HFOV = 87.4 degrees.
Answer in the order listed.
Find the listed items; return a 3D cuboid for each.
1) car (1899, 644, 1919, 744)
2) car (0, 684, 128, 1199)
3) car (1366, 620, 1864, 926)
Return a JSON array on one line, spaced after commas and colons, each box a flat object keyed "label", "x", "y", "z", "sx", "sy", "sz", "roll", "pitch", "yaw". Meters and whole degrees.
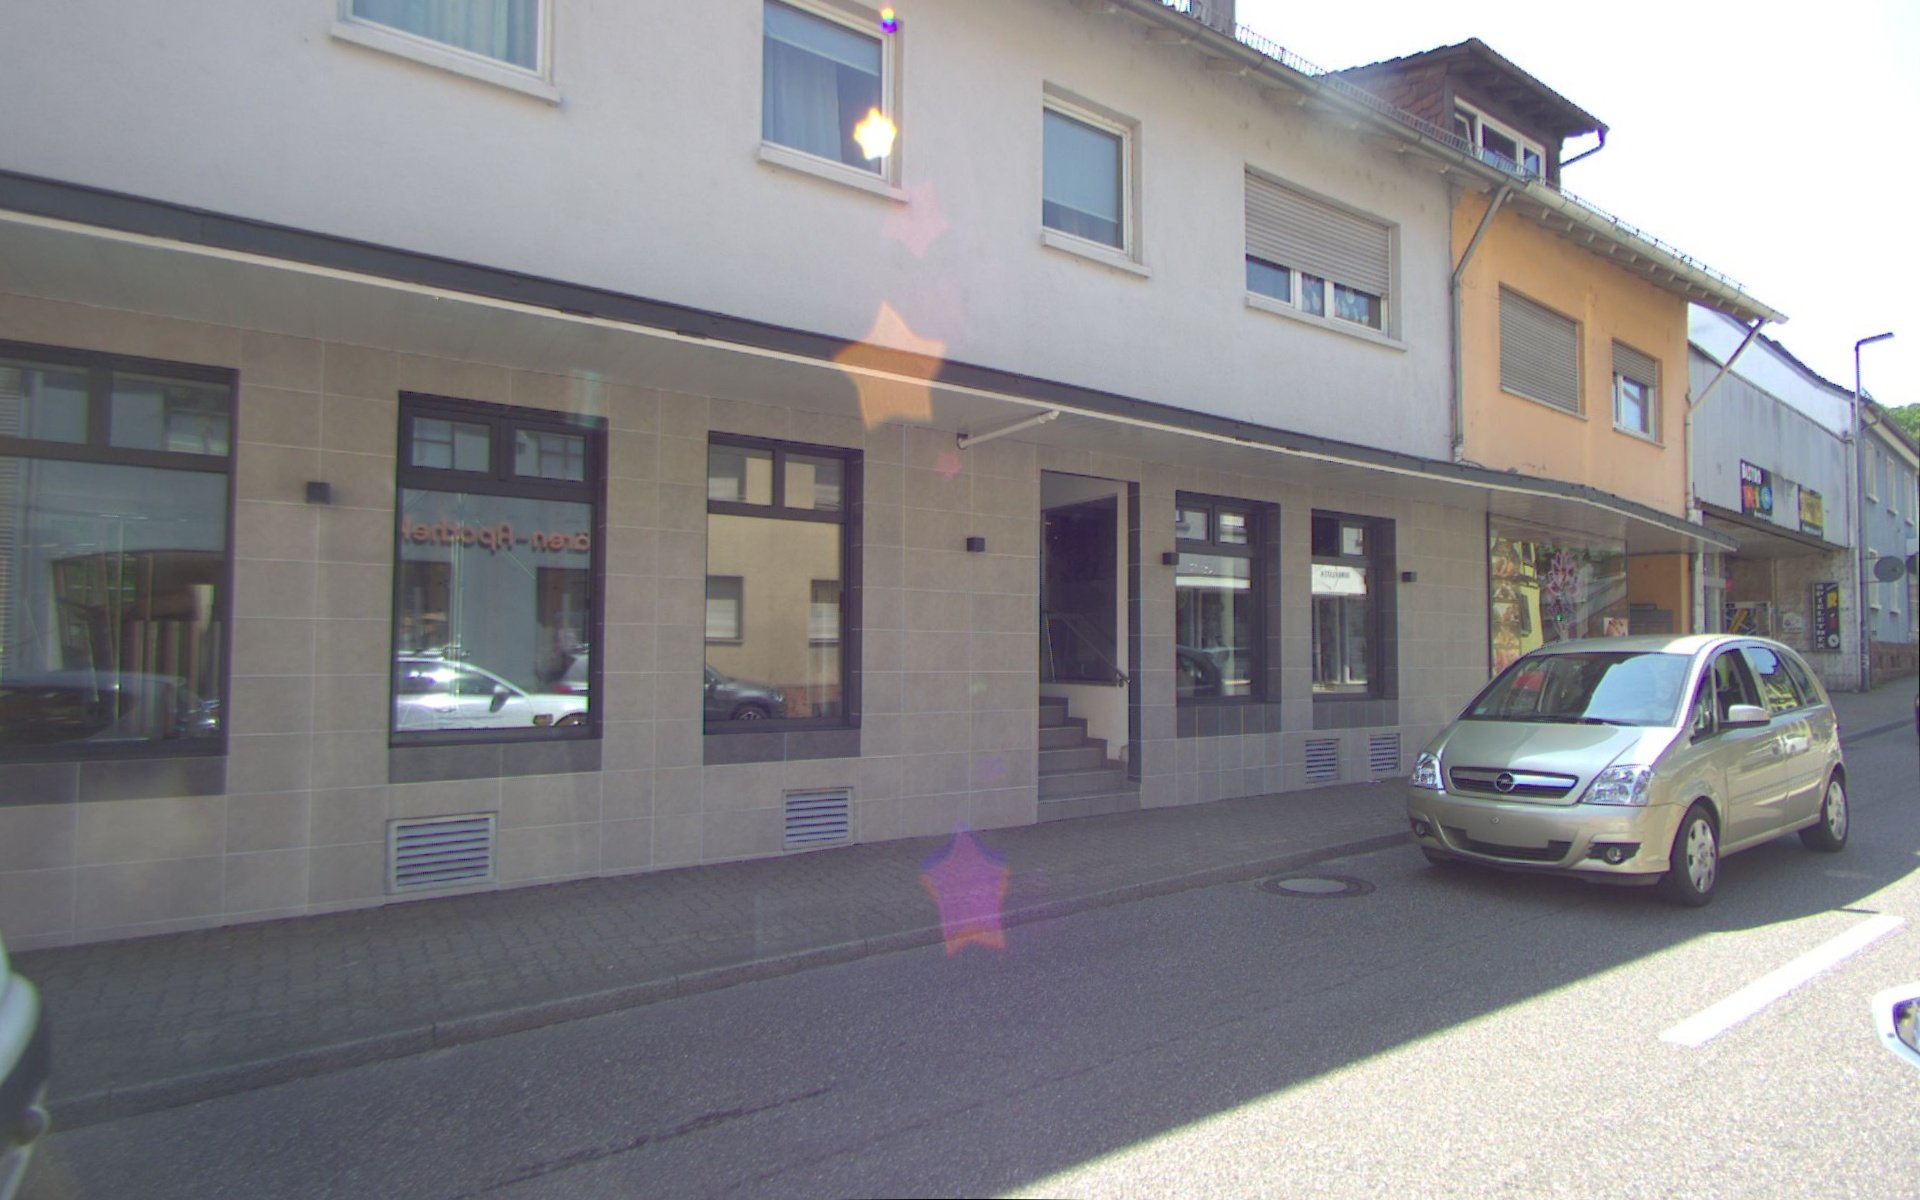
[{"label": "car", "x": 16.101, "y": 1.341, "z": 15.289, "sx": 4.241, "sy": 1.427, "sz": 1.707, "roll": 0, "pitch": -4, "yaw": -35}, {"label": "car", "x": -3.518, "y": 0.897, "z": 1.420, "sx": 3.412, "sy": 1.474, "sz": 1.587, "roll": 2, "pitch": -5, "yaw": -34}, {"label": "car", "x": 4.813, "y": 1.013, "z": 7.240, "sx": 3.783, "sy": 1.638, "sz": 1.669, "roll": 0, "pitch": -4, "yaw": -35}]
